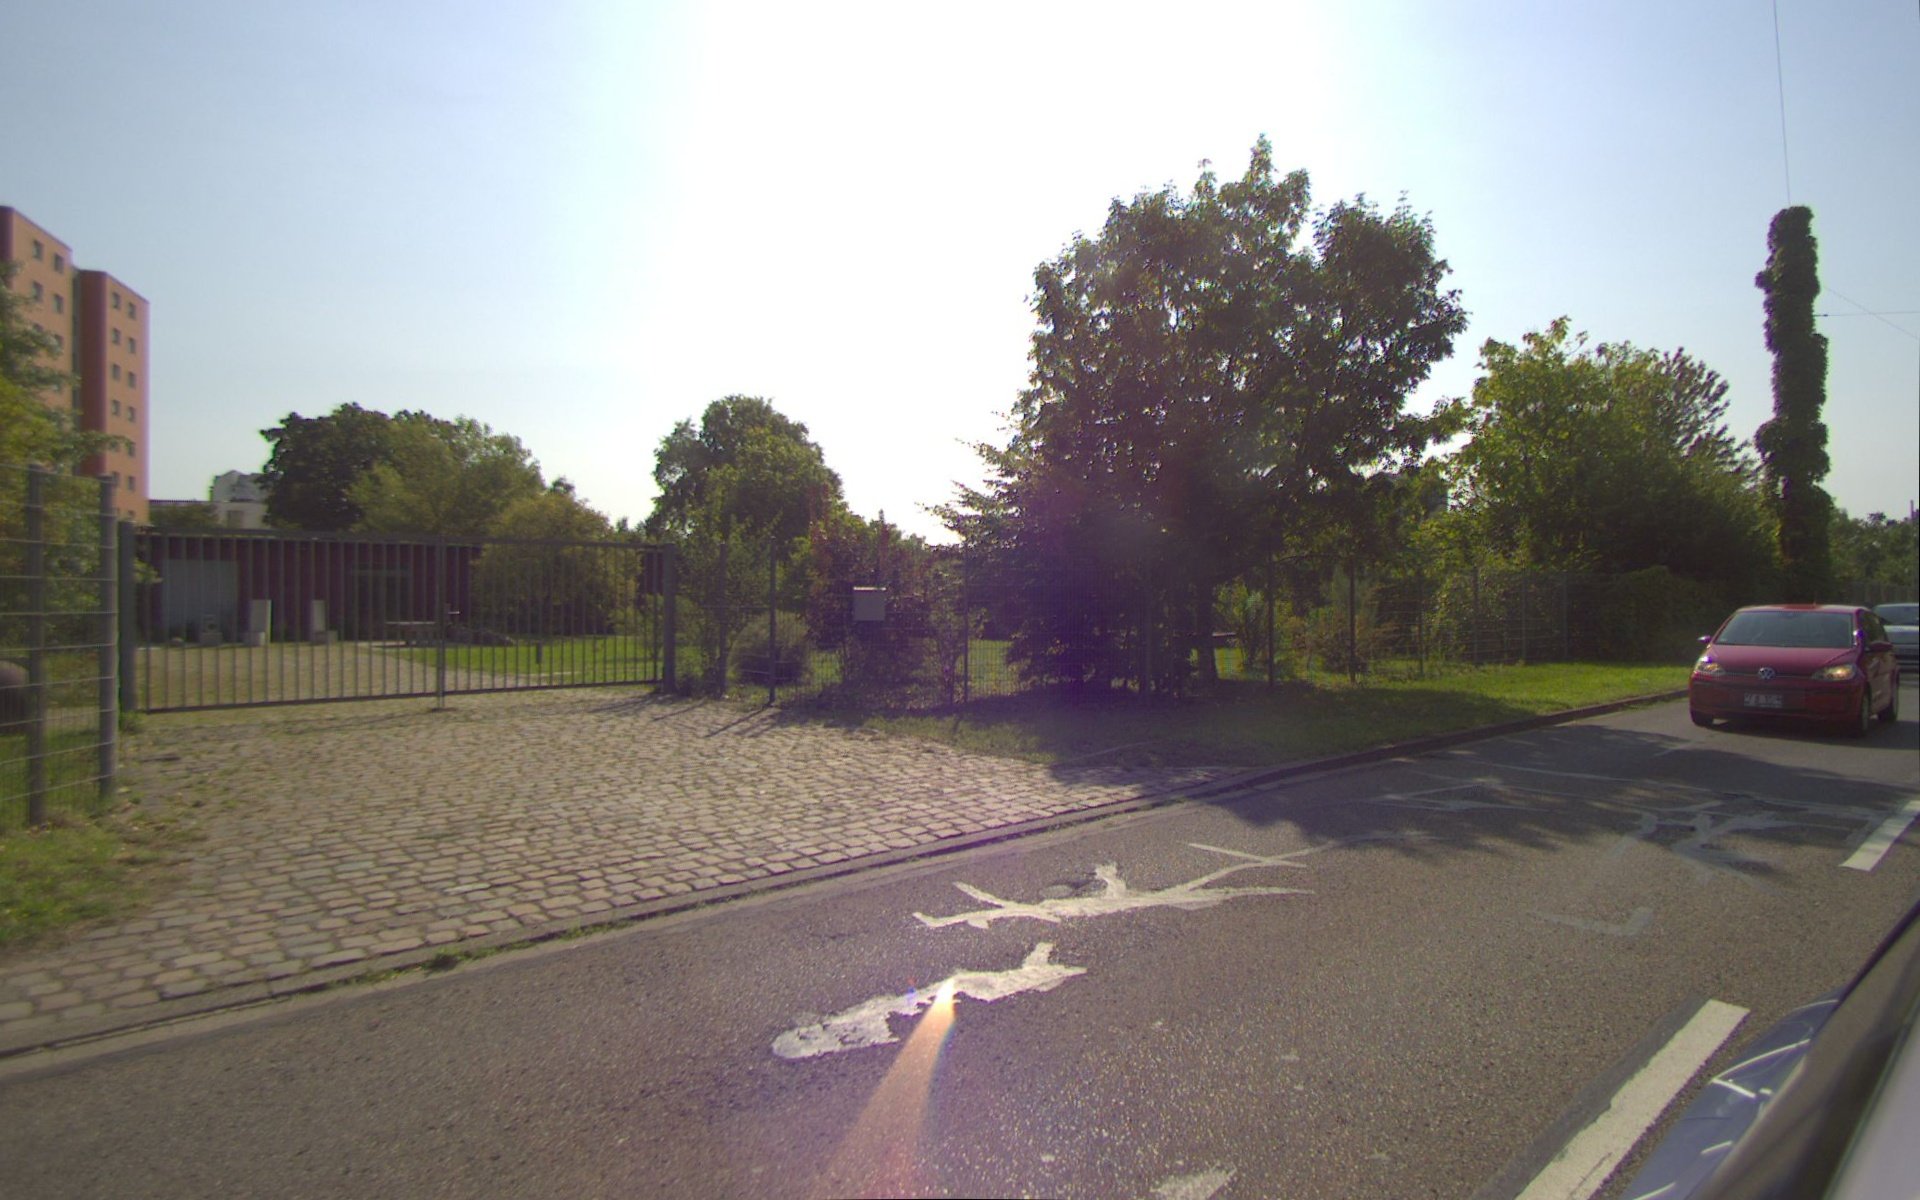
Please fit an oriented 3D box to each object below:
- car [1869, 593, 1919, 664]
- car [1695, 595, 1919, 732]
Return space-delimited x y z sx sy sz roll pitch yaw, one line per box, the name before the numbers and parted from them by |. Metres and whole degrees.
car | 21.975 0.595 22.896 3.832 1.494 1.647 -1 -1 -42
car | 10.483 0.661 12.454 3.411 1.416 1.578 -1 1 -40
